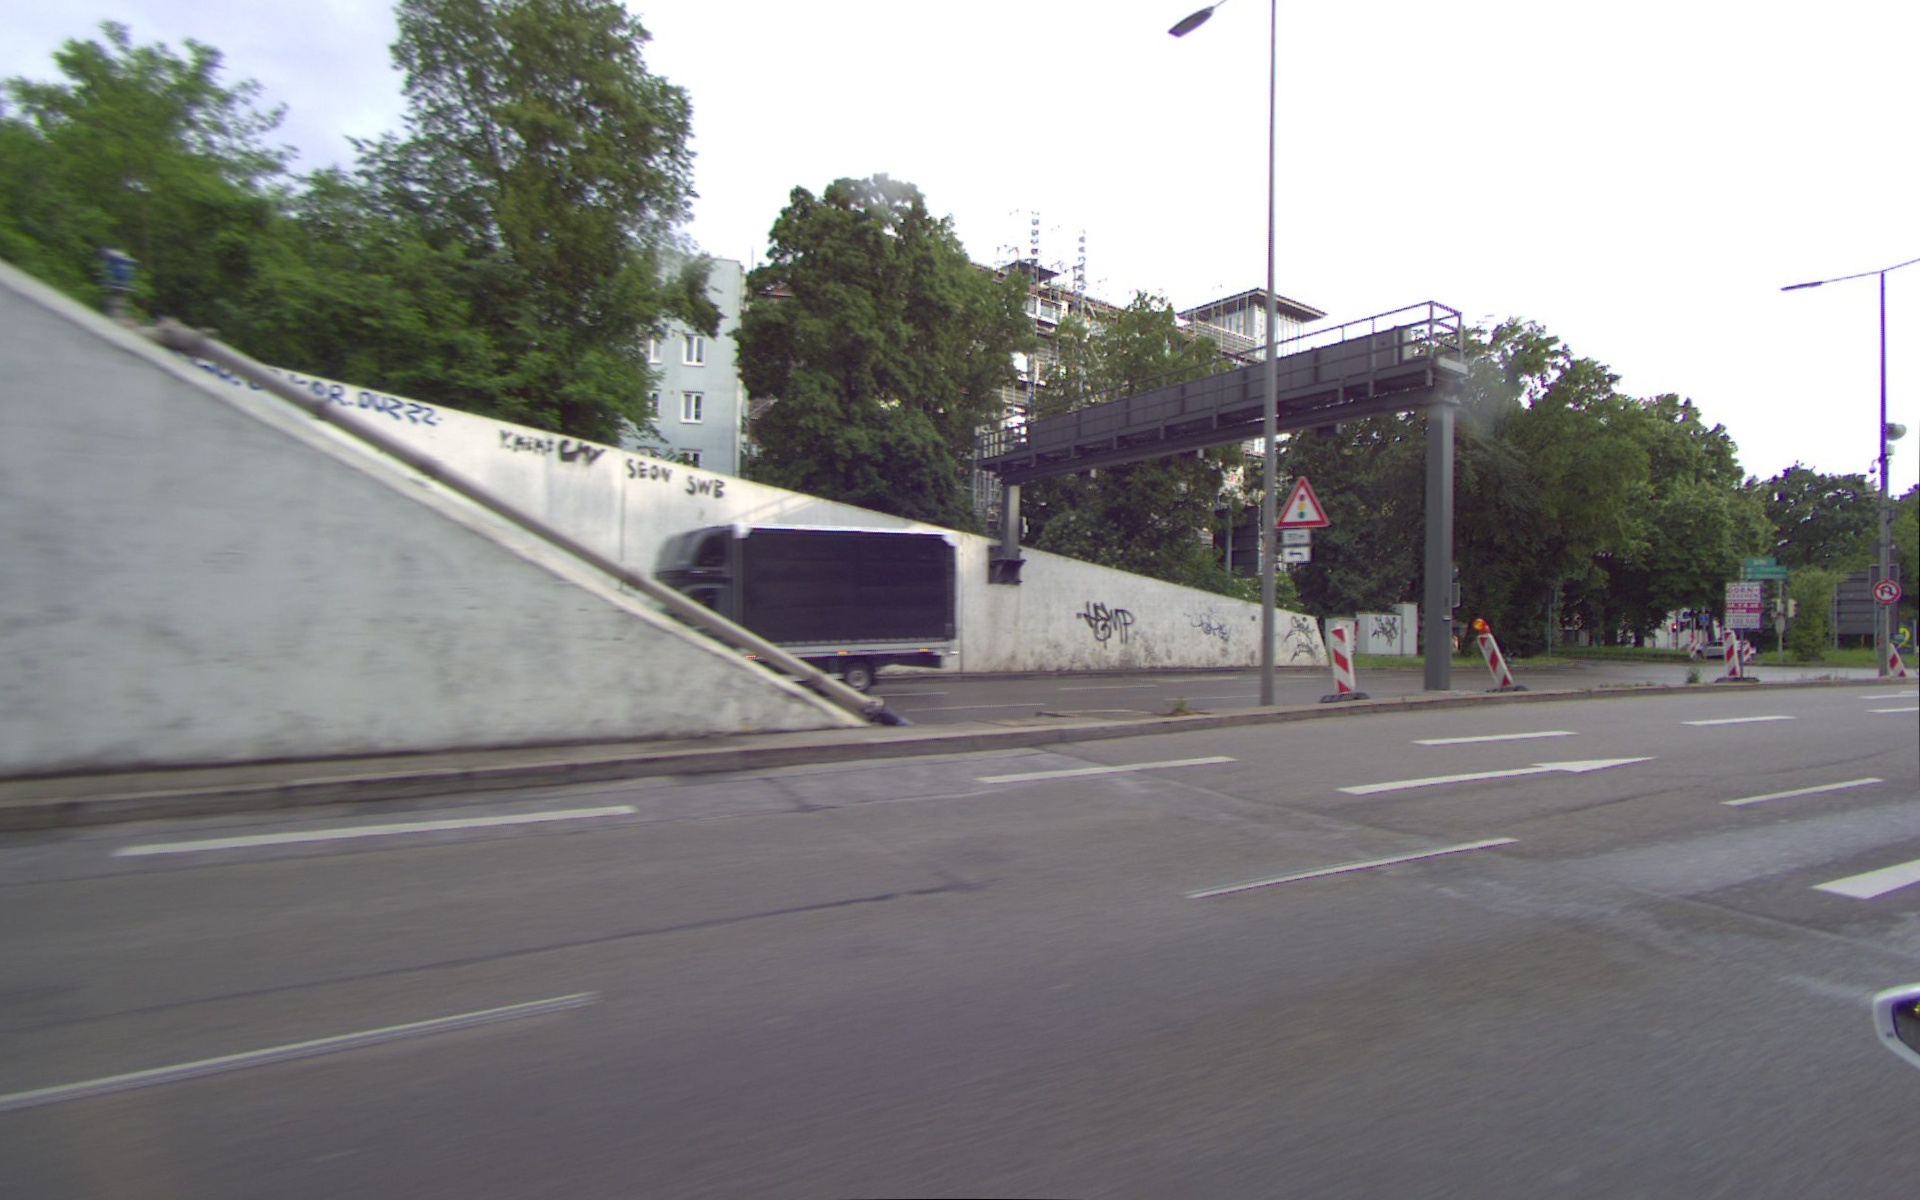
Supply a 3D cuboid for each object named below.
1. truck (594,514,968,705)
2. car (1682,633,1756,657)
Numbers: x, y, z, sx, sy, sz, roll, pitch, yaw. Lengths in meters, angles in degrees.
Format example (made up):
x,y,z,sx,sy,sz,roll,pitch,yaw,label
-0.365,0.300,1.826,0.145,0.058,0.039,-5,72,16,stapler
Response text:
x,y,z,sx,sy,sz,roll,pitch,yaw,label
-3.521,0.225,20.582,7.070,3.320,2.781,1,-1,-33,truck
55.732,3.265,73.804,1.878,1.706,3.962,0,-1,-34,car
